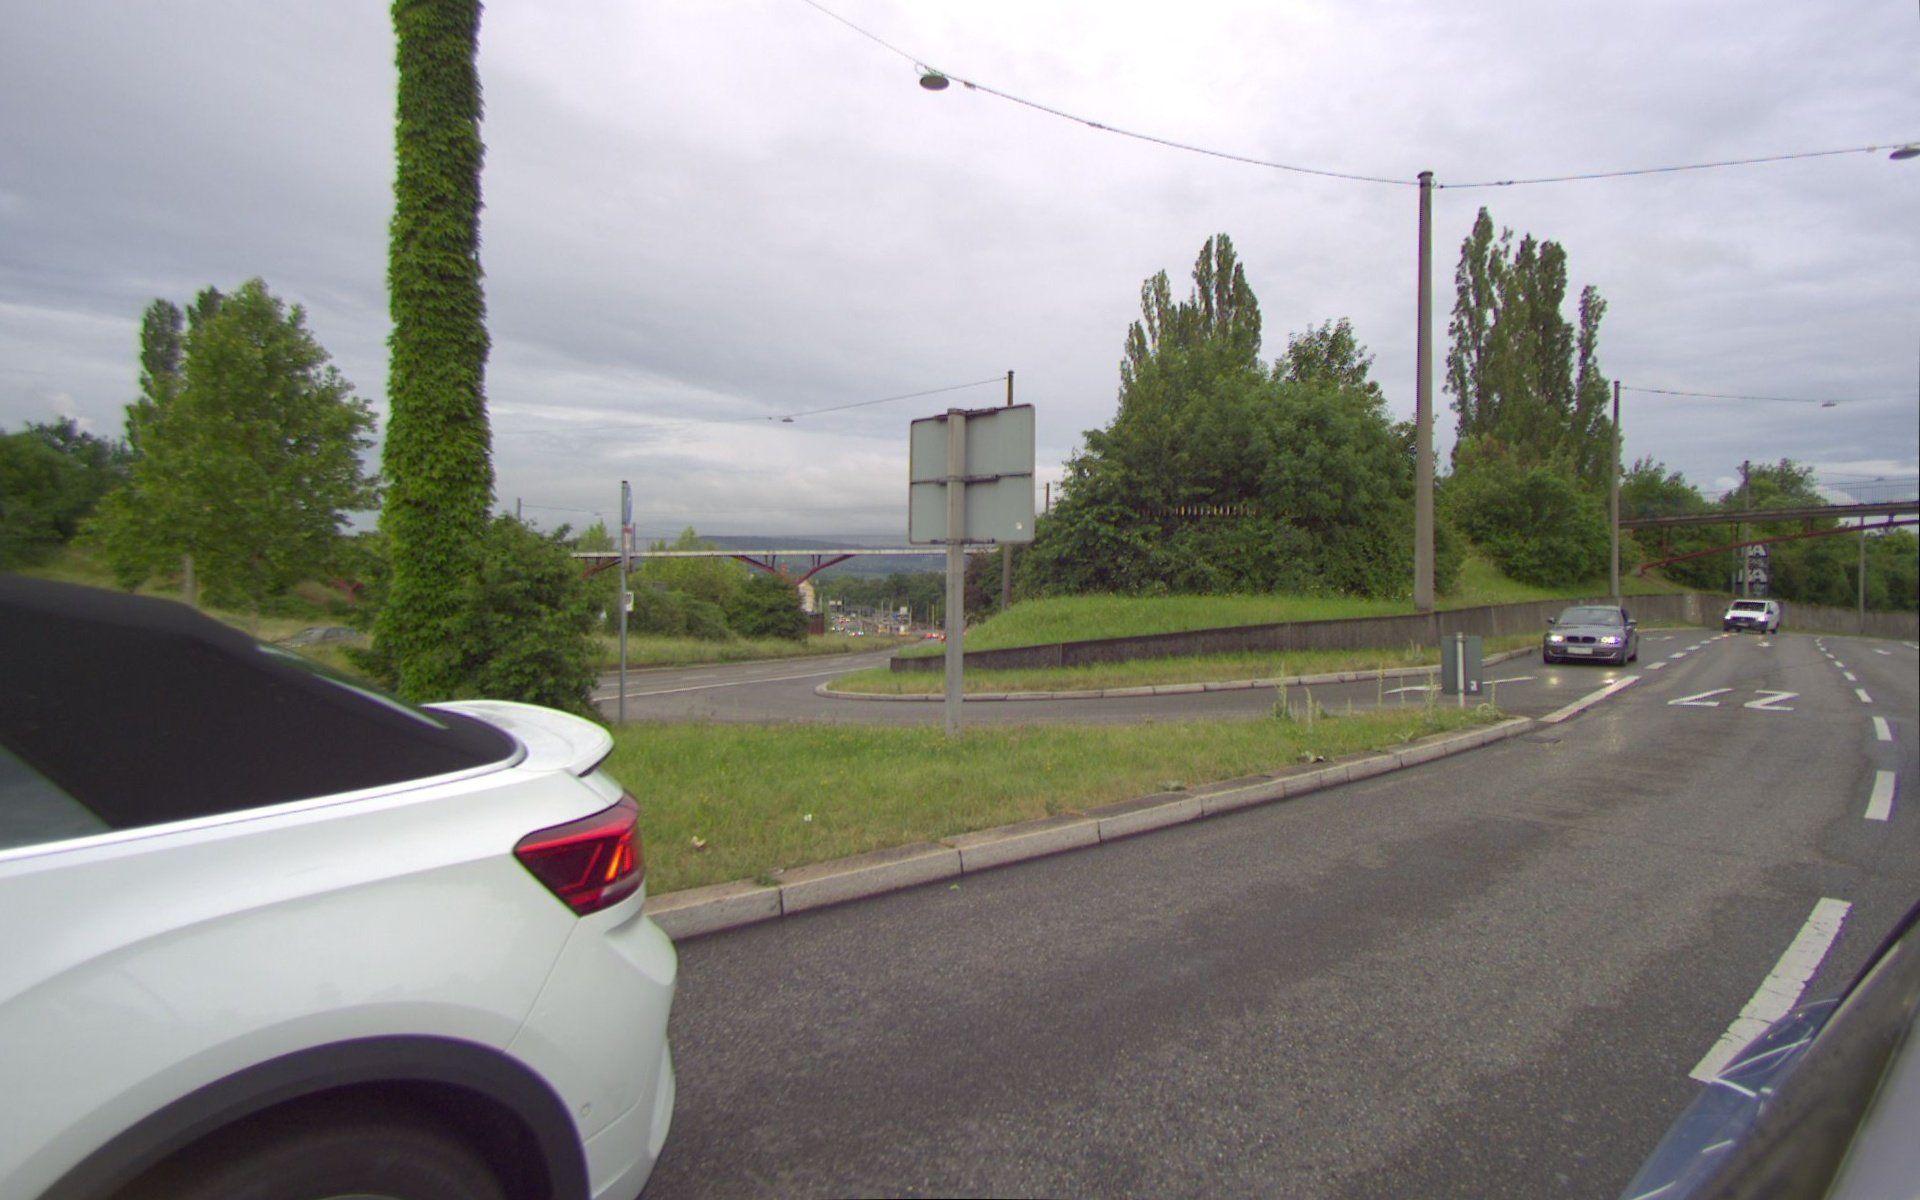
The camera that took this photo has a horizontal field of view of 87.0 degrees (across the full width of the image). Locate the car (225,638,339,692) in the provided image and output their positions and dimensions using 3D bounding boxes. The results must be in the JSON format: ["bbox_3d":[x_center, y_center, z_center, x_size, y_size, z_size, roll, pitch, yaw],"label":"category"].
[{"bbox_3d":[-29.669,2.807,44.419,1.968,2.039,3.988,0,0,11],"label":"car"}]

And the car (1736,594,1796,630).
[{"bbox_3d":[45.268,0.631,56.807,4.744,1.871,1.996,-1,3,-44],"label":"car"}]

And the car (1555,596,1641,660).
[{"bbox_3d":[15.840,0.660,25.096,1.673,1.438,4.032,1,-1,33],"label":"car"}]

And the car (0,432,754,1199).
[{"bbox_3d":[-2.495,0.587,1.181,4.158,1.572,1.715,-1,0,-43],"label":"car"}]
